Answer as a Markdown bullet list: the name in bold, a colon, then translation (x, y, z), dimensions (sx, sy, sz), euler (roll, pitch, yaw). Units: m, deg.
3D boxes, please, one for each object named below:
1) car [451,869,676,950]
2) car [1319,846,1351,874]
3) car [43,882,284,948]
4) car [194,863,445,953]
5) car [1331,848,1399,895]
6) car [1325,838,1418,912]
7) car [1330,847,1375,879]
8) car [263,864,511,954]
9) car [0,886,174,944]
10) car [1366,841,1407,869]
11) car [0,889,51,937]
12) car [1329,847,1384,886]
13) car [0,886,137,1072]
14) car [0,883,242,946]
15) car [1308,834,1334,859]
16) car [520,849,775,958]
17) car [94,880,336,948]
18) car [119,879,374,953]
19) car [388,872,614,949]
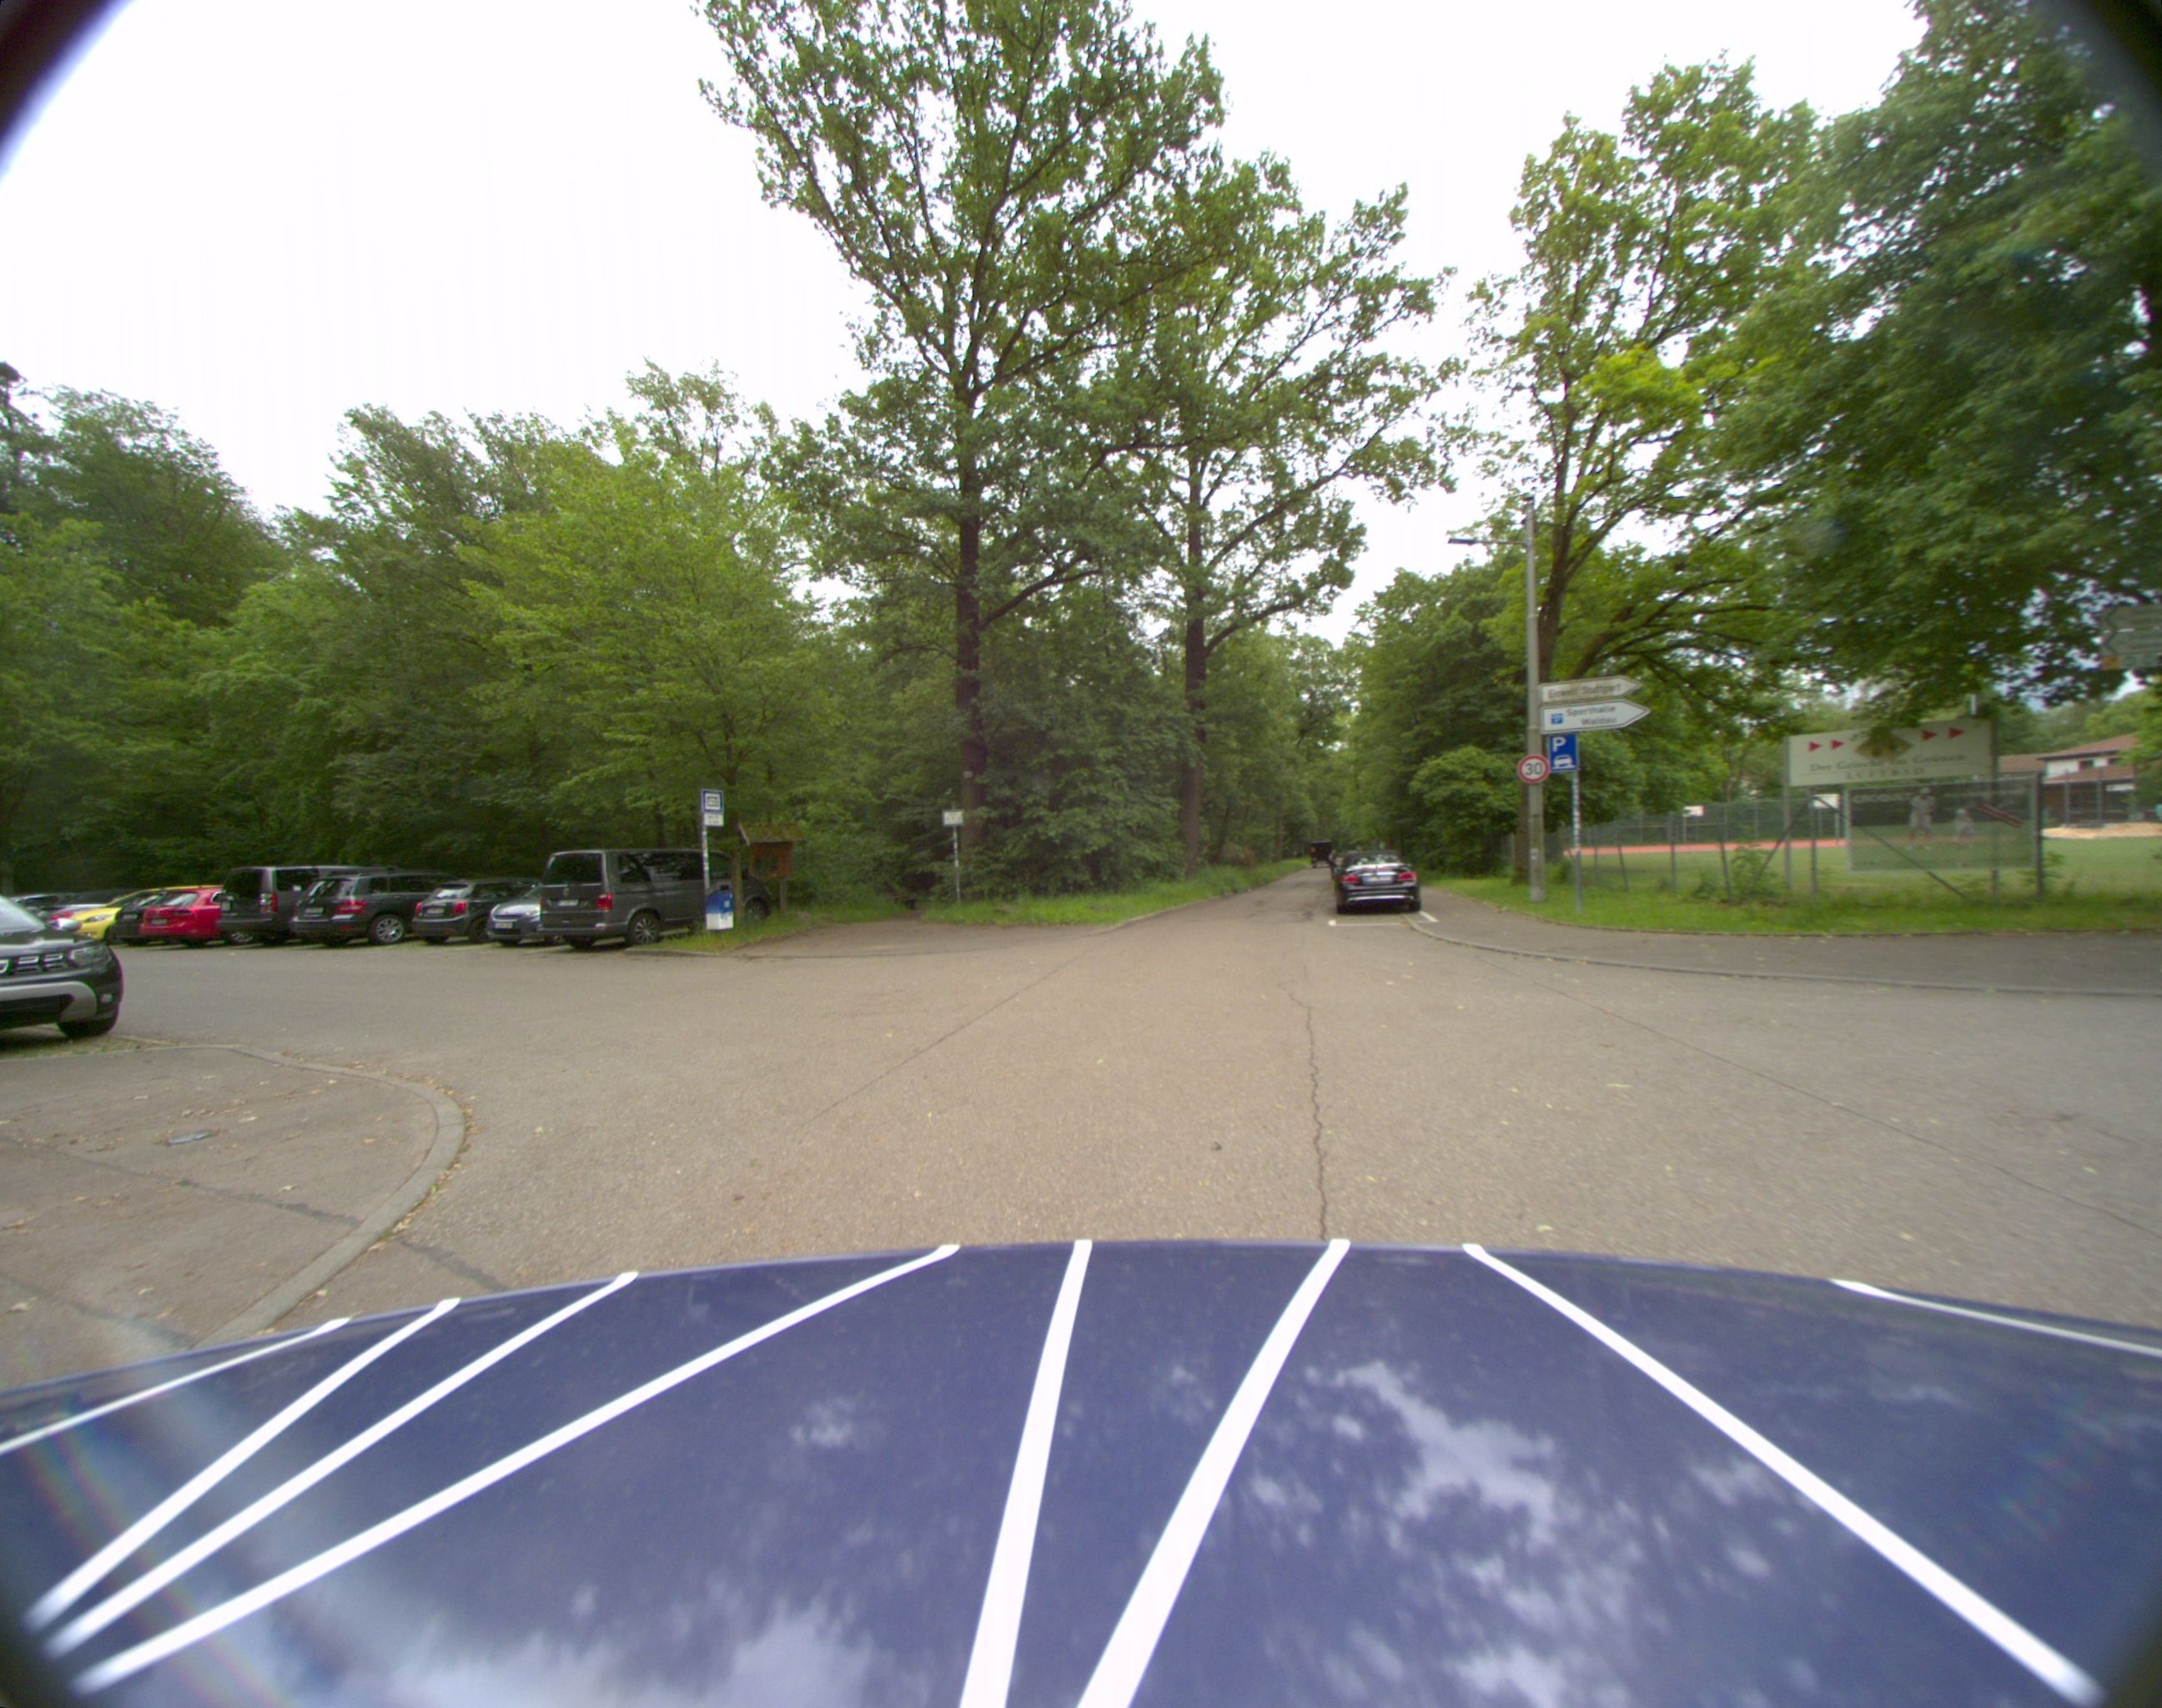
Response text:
- **car**: translation (-11.490, 1.179, 17.206), dimensions (1.805, 1.503, 3.832), euler (-2, 0, 19)
- **car**: translation (15.713, 0.337, 47.185), dimensions (1.618, 1.583, 3.523), euler (-3, 0, 16)
- **car**: translation (-25.885, 1.674, 21.665), dimensions (1.614, 1.430, 4.004), euler (-2, 1, 16)
- **car**: translation (-18.910, 1.252, 19.158), dimensions (1.810, 1.852, 4.004), euler (-2, 1, 16)
- **car**: translation (9.331, 0.563, 25.255), dimensions (1.688, 1.351, 4.226), euler (-3, -2, 16)
- **car**: translation (6.788, 0.483, 18.020), dimensions (1.768, 1.485, 4.333), euler (-3, -2, 19)
- **car**: translation (12.821, 0.444, 36.009), dimensions (1.688, 1.351, 3.636), euler (-3, -2, 16)
- **car**: translation (-16.579, 1.242, 18.460), dimensions (1.820, 1.756, 4.003), euler (-2, 1, 15)
- **car**: translation (-30.772, 1.817, 22.907), dimensions (1.711, 1.430, 4.005), euler (-2, 0, 16)
- **car**: translation (18.924, 0.028, 47.202), dimensions (1.955, 1.609, 3.643), euler (-1, 1, 16)
- **car**: translation (-35.693, 1.978, 23.598), dimensions (1.711, 1.459, 4.004), euler (-2, 1, 16)
- **car**: translation (10.821, 0.493, 30.061), dimensions (1.688, 1.351, 3.873), euler (-3, -2, 16)
- **car**: translation (-11.684, 1.203, 7.381), dimensions (3.990, 1.624, 1.817), euler (-2, 1, 19)
- **car**: translation (-28.073, 1.709, 22.435), dimensions (1.730, 1.430, 4.004), euler (-2, 1, 16)
- **car**: translation (26.064, -0.873, 82.601), dimensions (2.576, 2.520, 4.941), euler (-3, 0, 17)
- **car**: translation (-8.927, 0.922, 16.189), dimensions (1.887, 1.966, 4.523), euler (-2, 0, 19)
- **car**: translation (-23.610, 1.589, 20.961), dimensions (1.668, 1.430, 4.003), euler (-2, 1, 14)
- **car**: translation (-21.264, 1.519, 19.627), dimensions (1.776, 1.467, 4.003), euler (-2, 1, 15)
- **car**: translation (-13.740, 1.283, 18.313), dimensions (1.717, 1.422, 4.004), euler (-2, 1, 17)
